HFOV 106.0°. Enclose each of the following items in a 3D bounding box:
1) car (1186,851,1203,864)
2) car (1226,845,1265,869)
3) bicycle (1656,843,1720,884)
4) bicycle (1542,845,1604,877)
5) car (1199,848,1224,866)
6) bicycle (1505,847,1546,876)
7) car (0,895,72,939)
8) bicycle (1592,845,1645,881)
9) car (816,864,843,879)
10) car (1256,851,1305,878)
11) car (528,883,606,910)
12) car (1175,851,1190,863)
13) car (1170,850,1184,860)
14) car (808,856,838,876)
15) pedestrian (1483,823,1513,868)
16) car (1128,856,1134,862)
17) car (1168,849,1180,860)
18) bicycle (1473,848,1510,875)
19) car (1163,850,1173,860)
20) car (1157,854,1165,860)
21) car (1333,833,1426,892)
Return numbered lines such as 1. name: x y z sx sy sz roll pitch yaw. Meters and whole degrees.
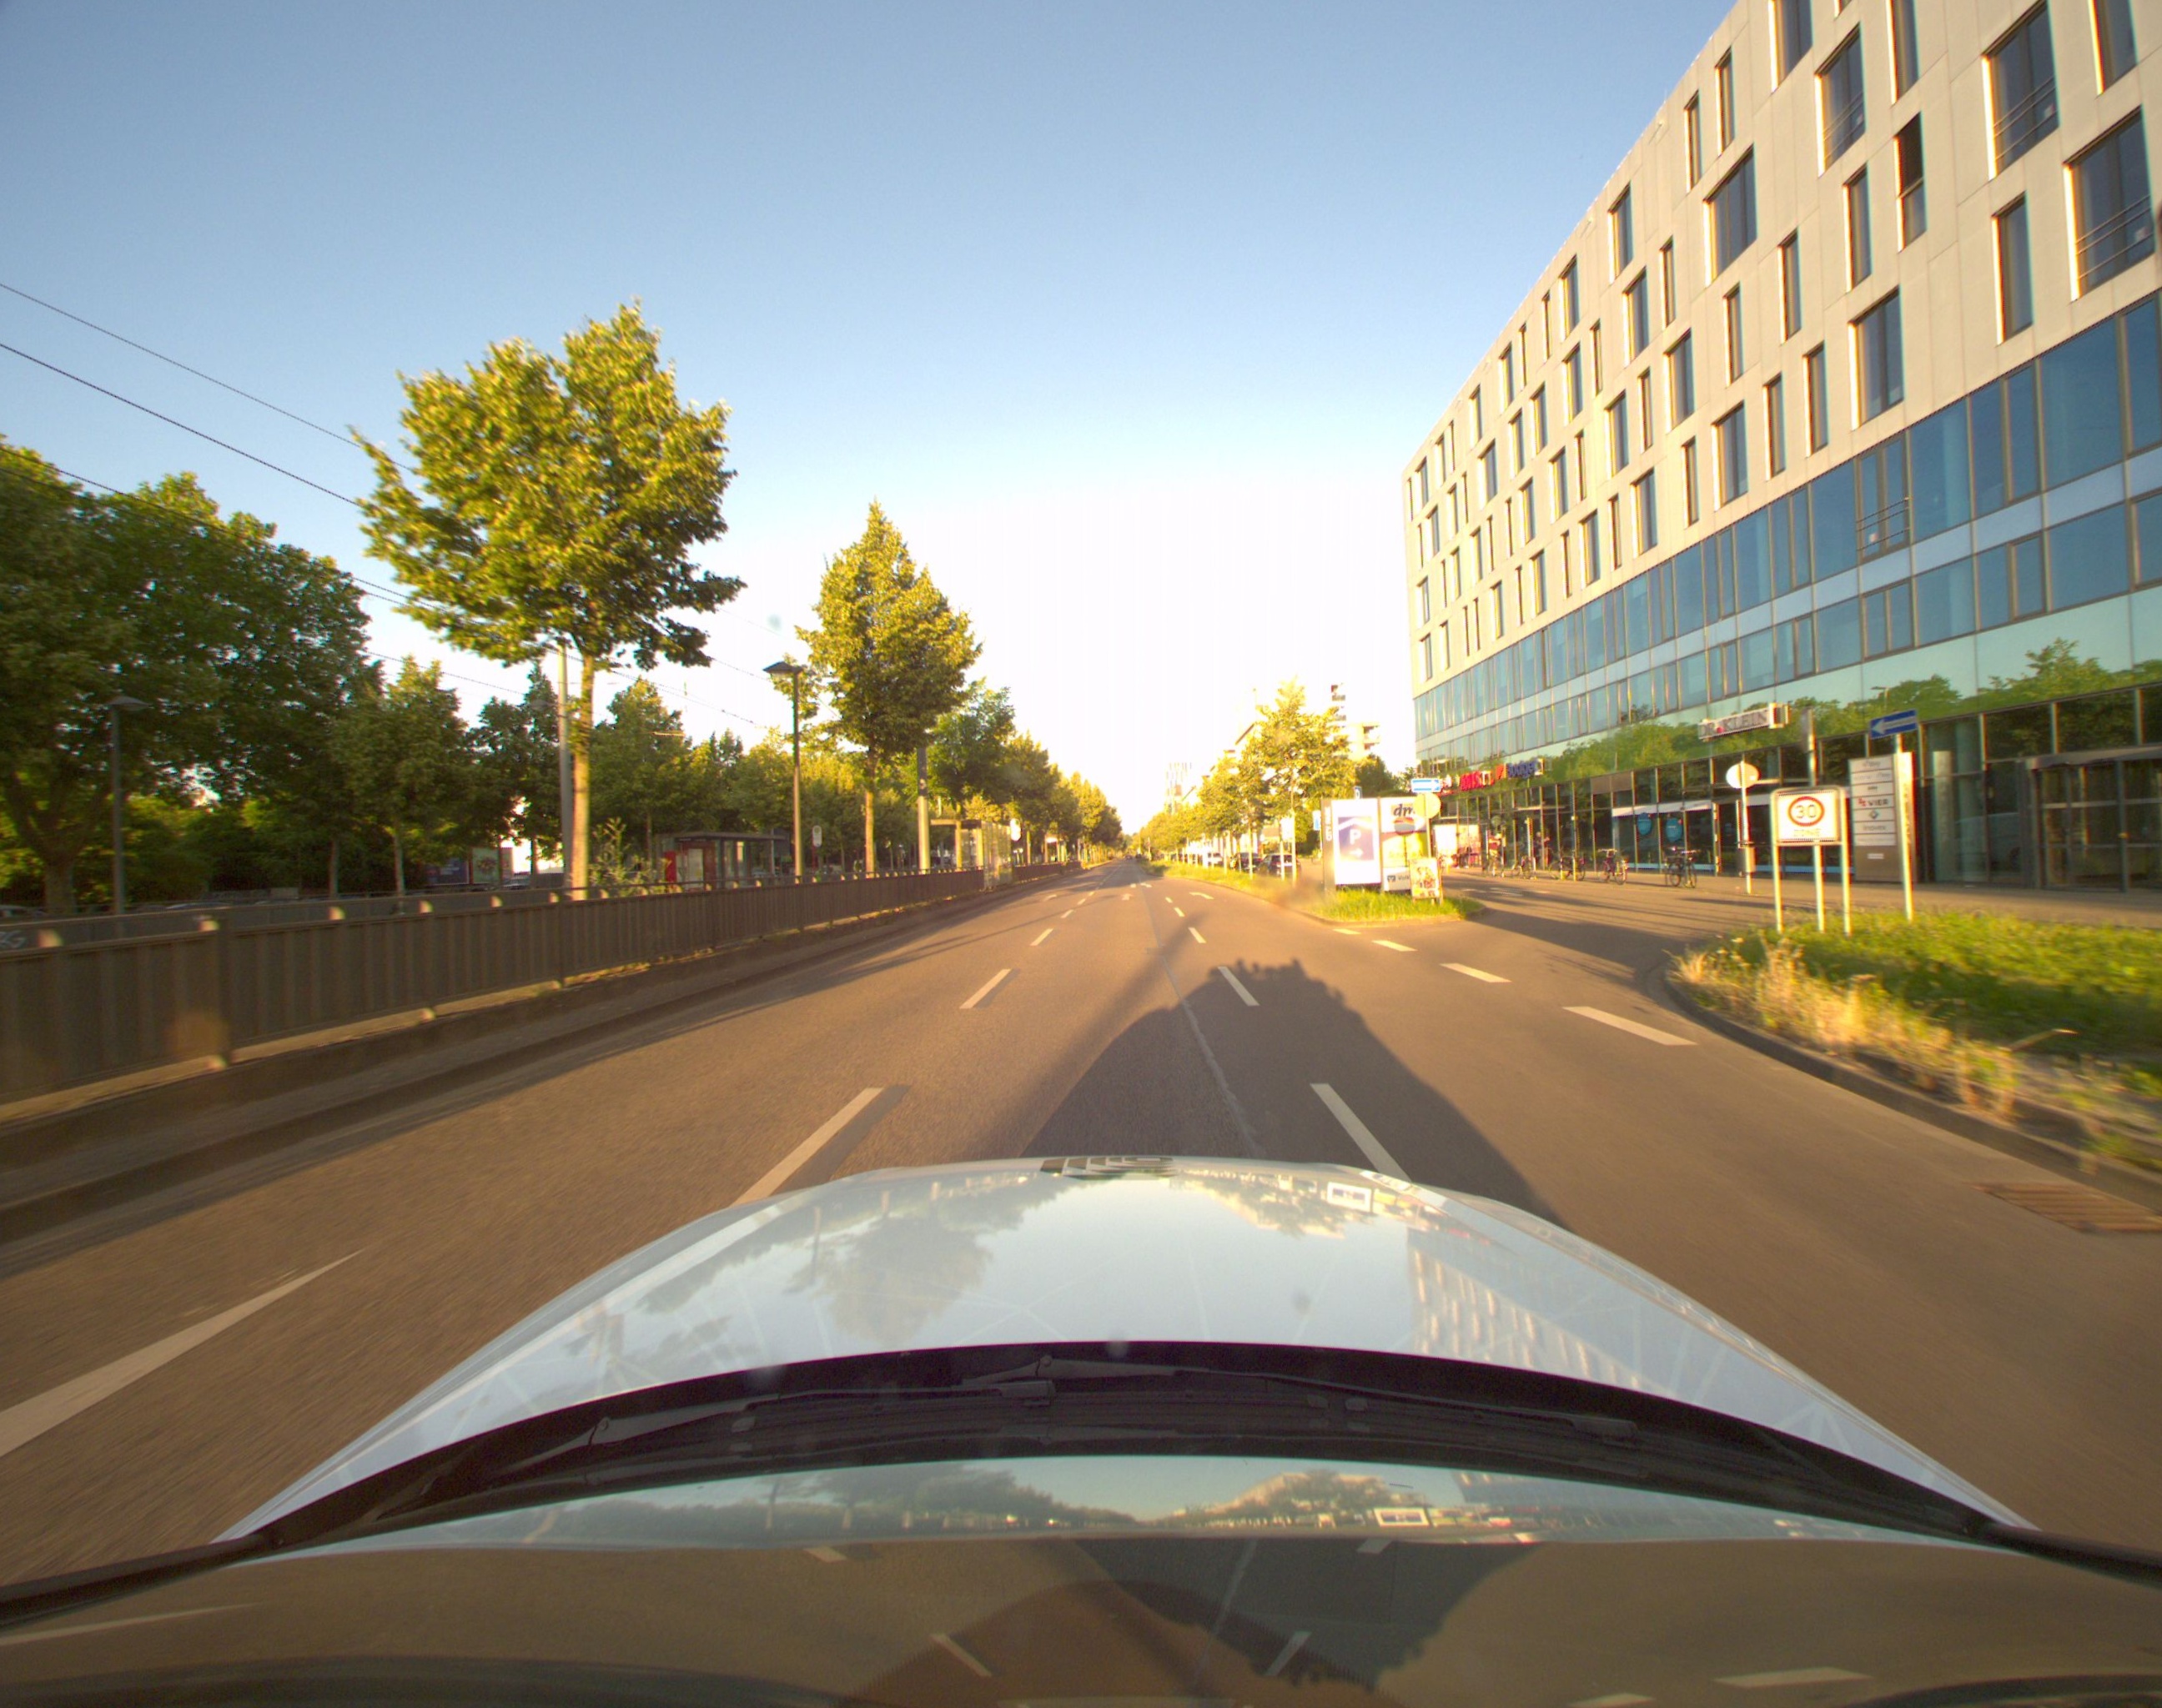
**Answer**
1. car: 14.601 0.465 105.274 2.019 1.697 4.405 0 0 6
2. car: 11.964 0.231 59.473 1.986 1.697 4.594 0 0 1
3. bicycle: 16.760 0.243 22.532 0.538 1.068 2.010 -2 0 10
4. bicycle: 17.211 0.236 28.545 0.634 1.068 2.116 -2 0 -9
5. car: 13.197 0.315 82.336 1.986 1.697 4.418 0 0 2
6. bicycle: 17.289 0.287 31.718 0.631 1.068 2.127 -2 0 8
7. car: -39.371 2.323 28.746 1.983 1.464 4.253 -2 0 7
8. bicycle: 16.796 0.273 25.499 0.630 1.068 2.129 -2 0 12
9. car: -34.615 2.364 112.093 1.897 1.816 4.227 -4 -1 6
10. car: 10.993 0.553 45.117 1.817 1.435 4.462 0 0 2
11. car: -33.447 2.721 53.104 1.983 1.464 4.253 -3 0 7
12. car: 16.030 0.408 128.977 1.887 1.771 3.949 -2 0 2
13. car: 16.054 0.175 135.790 1.766 1.636 3.559 -2 0 -2
14. car: -28.933 1.323 91.353 1.767 2.184 4.005 -2 0 4
15. pedestrian: 19.903 -0.382 38.904 0.808 2.089 1.114 -3 -1 5
16. car: 14.897 1.492 244.023 1.689 1.596 4.002 -3 -1 2
17. car: 17.204 0.057 150.999 1.986 2.013 4.002 -2 0 2
18. bicycle: 17.266 0.318 34.318 0.631 1.068 2.126 -2 0 6
19. car: 18.822 0.202 176.272 1.986 2.013 4.002 -2 0 2
20. car: 21.453 0.842 217.955 1.689 1.596 4.002 -3 -1 2
21. car: 10.103 0.273 27.890 1.843 1.828 4.399 0 0 4
